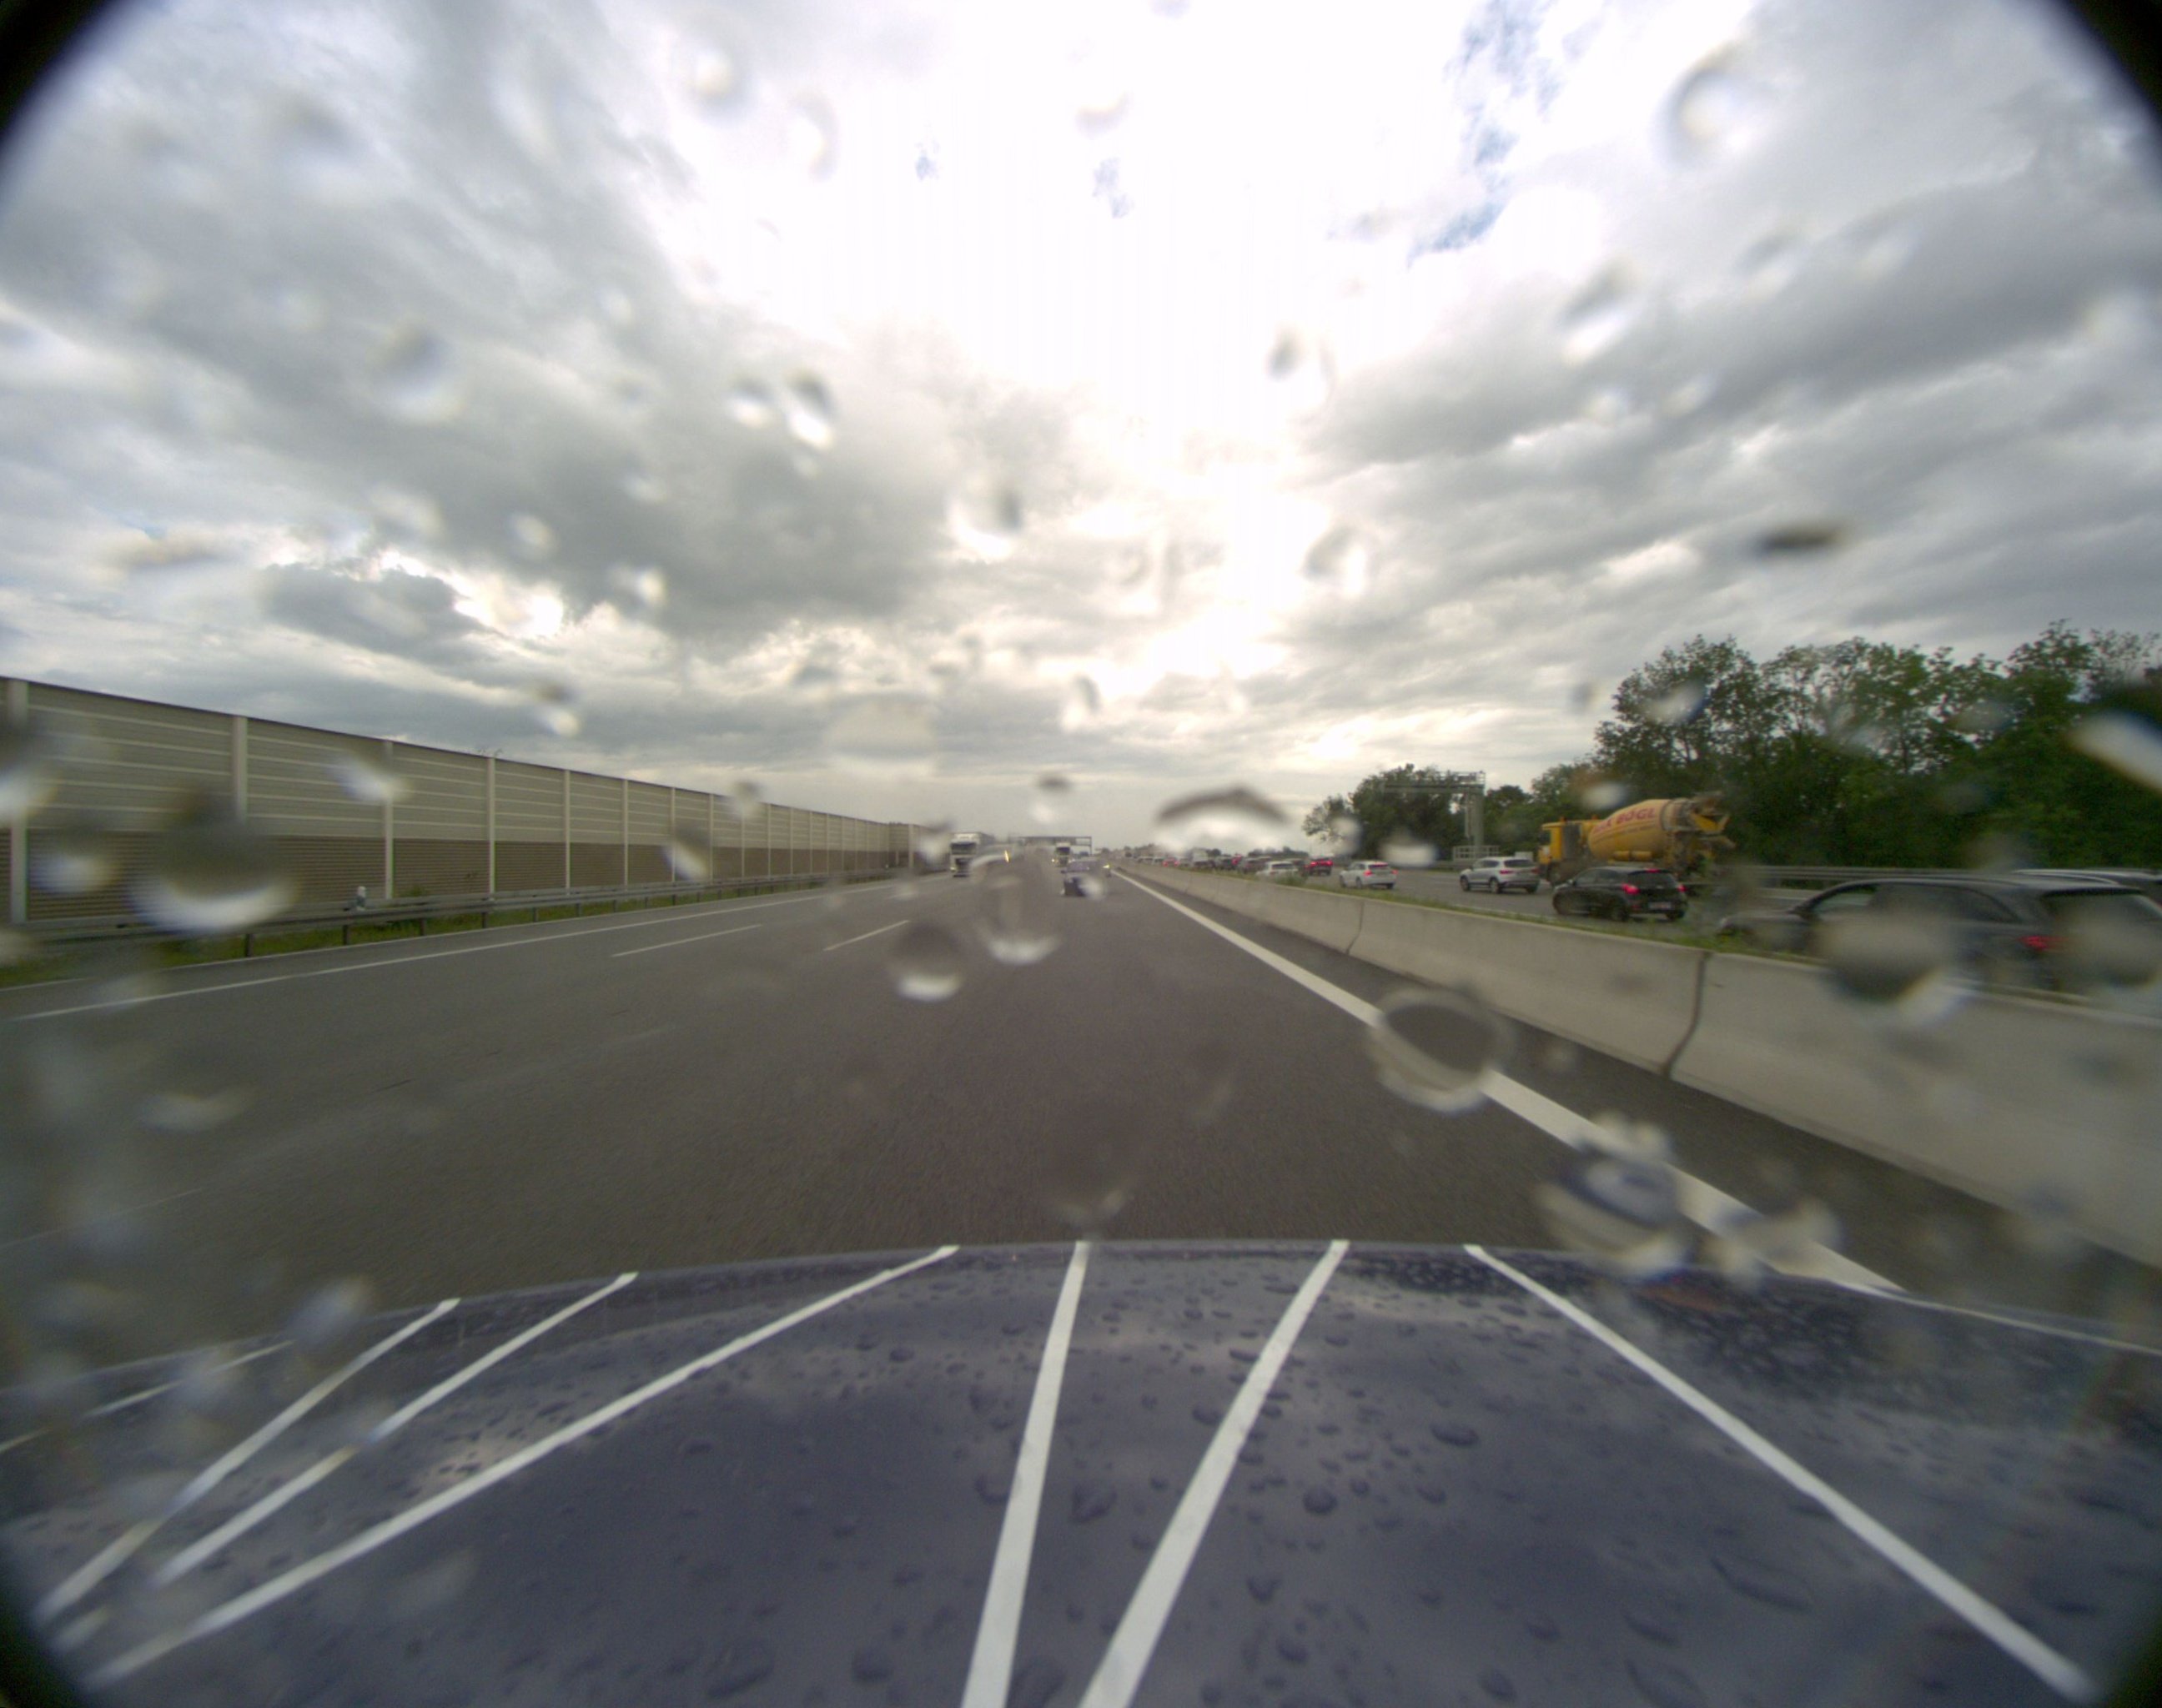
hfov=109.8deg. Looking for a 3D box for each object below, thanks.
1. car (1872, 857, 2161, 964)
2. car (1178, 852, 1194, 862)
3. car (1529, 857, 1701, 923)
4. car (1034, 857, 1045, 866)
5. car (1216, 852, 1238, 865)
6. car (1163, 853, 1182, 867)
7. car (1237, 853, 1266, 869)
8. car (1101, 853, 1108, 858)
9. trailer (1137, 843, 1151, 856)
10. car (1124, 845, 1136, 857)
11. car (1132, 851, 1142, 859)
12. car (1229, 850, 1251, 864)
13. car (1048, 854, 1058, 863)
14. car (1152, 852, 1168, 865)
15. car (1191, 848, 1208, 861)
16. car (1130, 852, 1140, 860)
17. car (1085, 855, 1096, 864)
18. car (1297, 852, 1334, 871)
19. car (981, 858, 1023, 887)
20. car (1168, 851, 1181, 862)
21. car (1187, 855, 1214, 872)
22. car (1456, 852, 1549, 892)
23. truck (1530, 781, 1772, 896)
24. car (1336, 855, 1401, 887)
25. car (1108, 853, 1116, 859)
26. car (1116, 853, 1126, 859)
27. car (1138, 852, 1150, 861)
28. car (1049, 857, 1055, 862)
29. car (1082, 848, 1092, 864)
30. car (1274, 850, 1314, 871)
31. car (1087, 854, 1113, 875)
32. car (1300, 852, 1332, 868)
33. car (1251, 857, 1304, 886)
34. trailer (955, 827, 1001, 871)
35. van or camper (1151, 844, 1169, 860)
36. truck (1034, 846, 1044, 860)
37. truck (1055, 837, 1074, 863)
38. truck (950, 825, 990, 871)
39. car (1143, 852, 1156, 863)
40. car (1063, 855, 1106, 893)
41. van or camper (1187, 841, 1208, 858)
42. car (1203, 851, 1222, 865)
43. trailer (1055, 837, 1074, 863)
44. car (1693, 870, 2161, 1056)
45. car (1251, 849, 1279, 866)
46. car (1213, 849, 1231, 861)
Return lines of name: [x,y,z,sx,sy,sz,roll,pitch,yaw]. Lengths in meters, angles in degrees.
car: [18.362,0.921,14.361,1.727,1.593,4.913,-3,1,1]
car: [16.178,0.427,117.247,1.727,1.407,4.519,-3,1,1]
car: [15.250,0.941,22.065,1.727,1.593,4.644,-3,1,1]
car: [-6.913,1.239,127.510,1.698,1.394,4.000,-2,0,-1]
car: [16.509,0.468,85.853,1.727,1.410,4.201,0,1,1]
car: [11.371,0.722,94.844,1.727,1.636,4.992,-3,1,1]
car: [16.144,0.654,72.026,1.727,1.420,4.519,-3,1,1]
car: [8.194,0.478,264.805,2.065,1.869,6.327,-1,0,-1]
trailer: [20.397,-1.484,246.096,2.939,4.008,14.451,-2,0,-1]
car: [11.438,-0.618,177.382,2.237,2.733,9.162,-1,0,0]
car: [14.662,0.255,200.258,2.065,2.223,5.893,-1,0,-1]
car: [19.607,0.361,93.761,1.727,1.636,4.519,-3,1,1]
car: [-6.287,1.022,172.060,1.998,2.002,4.000,-2,0,1]
car: [11.051,0.589,107.024,1.727,1.636,4.997,-3,1,1]
car: [18.820,0.079,121.157,1.692,1.925,5.547,-3,1,-1]
car: [11.262,0.412,159.429,1.727,1.636,4.519,-3,1,1]
car: [1.394,0.849,117.586,1.498,1.394,3.999,-2,0,-2]
car: [19.651,0.626,63.814,1.727,1.420,4.519,-3,1,1]
car: [-4.111,0.956,40.035,1.732,1.394,4.000,-2,0,0]
car: [16.036,0.398,130.171,1.727,1.636,4.519,-3,1,1]
car: [11.208,0.834,71.326,1.727,1.420,5.230,-3,1,1]
car: [19.000,0.777,34.485,1.727,1.593,4.519,-3,1,1]
truck: [22.987,-0.588,31.653,2.922,3.991,9.582,-1,0,1]
car: [15.493,0.871,41.196,1.727,1.461,4.848,-3,1,1]
car: [8.948,0.603,222.273,2.065,1.636,5.379,-1,0,-1]
car: [10.283,0.474,196.188,2.065,1.526,5.469,-1,0,-1]
car: [11.332,0.427,136.474,1.727,1.636,5.061,-3,1,1]
car: [-8.038,1.595,212.426,1.698,1.394,4.000,-2,0,-1]
car: [1.111,0.354,144.903,1.645,3.041,4.589,-2,0,0]
car: [15.925,0.478,57.021,1.727,1.420,4.519,-3,1,1]
car: [1.332,0.735,55.430,1.776,1.451,4.480,-2,0,0]
car: [23.232,0.551,75.283,1.727,1.420,4.519,-3,1,1]
car: [10.927,0.920,42.628,1.727,1.420,4.648,-3,1,0]
trailer: [-10.313,-0.433,77.744,2.768,4.008,14.452,-2,0,0]
van or camper: [15.544,-0.475,150.400,2.632,2.934,7.357,-3,1,-1]
truck: [-12.640,-0.220,228.546,2.600,4.087,11.369,-2,0,-3]
truck: [-2.693,-0.624,126.277,2.913,4.145,5.192,-3,0,-1]
truck: [-10.284,-0.500,70.887,2.752,4.011,5.726,-2,0,0]
car: [11.232,0.613,124.987,1.727,1.636,5.061,-3,1,1]
car: [0.152,0.784,30.992,1.578,1.394,4.000,-2,0,1]
van or camper: [22.683,-0.900,148.133,2.632,3.104,8.475,-3,1,-1]
car: [16.852,0.505,97.690,1.727,1.636,4.519,-3,1,1]
trailer: [-2.857,-0.554,132.905,2.926,4.187,13.195,-2,0,-1]
car: [10.758,1.113,9.847,1.727,1.593,4.913,-3,1,1]
car: [19.451,0.334,80.643,1.727,1.636,5.235,-3,1,1]
car: [19.592,0.098,105.510,1.727,1.469,3.960,-3,1,1]
